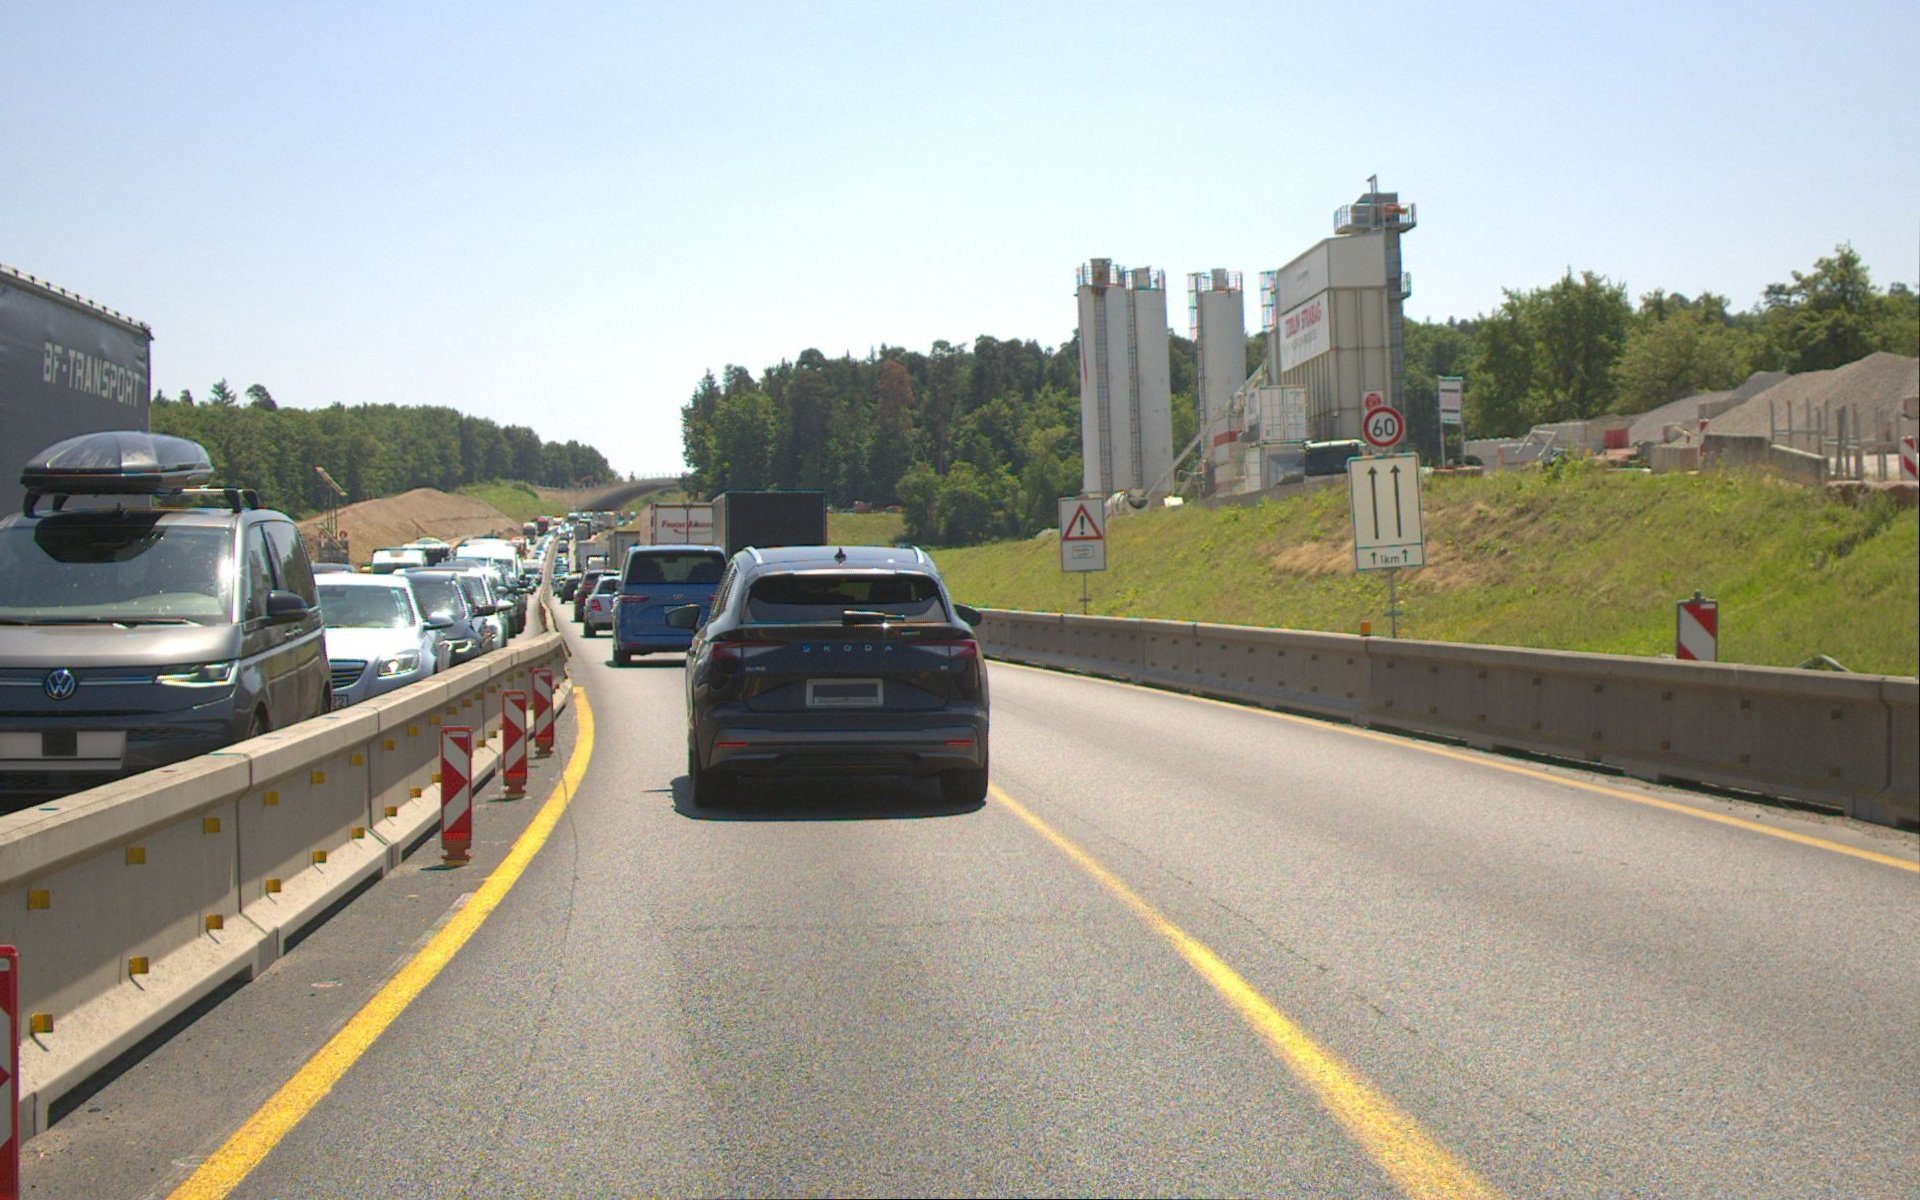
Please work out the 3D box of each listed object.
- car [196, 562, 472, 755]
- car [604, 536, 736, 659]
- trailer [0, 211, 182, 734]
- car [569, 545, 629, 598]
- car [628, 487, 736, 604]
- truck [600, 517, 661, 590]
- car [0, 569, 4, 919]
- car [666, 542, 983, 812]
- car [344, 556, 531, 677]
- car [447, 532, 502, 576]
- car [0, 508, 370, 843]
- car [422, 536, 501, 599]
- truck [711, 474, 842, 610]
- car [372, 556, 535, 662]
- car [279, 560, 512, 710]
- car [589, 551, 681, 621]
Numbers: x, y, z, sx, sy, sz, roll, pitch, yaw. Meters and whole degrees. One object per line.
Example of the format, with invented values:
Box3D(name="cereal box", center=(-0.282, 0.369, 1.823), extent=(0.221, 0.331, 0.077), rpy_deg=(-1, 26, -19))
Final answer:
Box3D(name="car", center=(-5.338, 0.451, 29.786), extent=(1.993, 1.525, 4.060), rpy_deg=(-1, 1, -5))
Box3D(name="car", center=(-4.613, -0.080, 54.828), extent=(1.993, 1.837, 4.001), rpy_deg=(-1, 1, -5))
Box3D(name="trailer", center=(-9.093, -1.057, 30.602), extent=(2.736, 4.123, 8.187), rpy_deg=(-1, 1, -3))
Box3D(name="car", center=(-11.337, -0.910, 107.995), extent=(1.820, 1.638, 3.866), rpy_deg=(-1, 1, -6))
Box3D(name="car", center=(-10.414, -2.058, 127.940), extent=(3.435, 4.087, 9.199), rpy_deg=(2, 1, -7))
Box3D(name="truck", center=(-19.387, -2.772, 202.148), extent=(3.475, 4.206, 10.379), rpy_deg=(0, 1, -6))
Box3D(name="car", center=(-4.825, 0.635, 11.837), extent=(1.735, 1.441, 4.797), rpy_deg=(0, 1, 0))
Box3D(name="car", center=(-0.786, 0.424, 22.253), extent=(1.842, 1.576, 4.000), rpy_deg=(0, 1, 1))
Box3D(name="car", center=(-7.181, 0.183, 47.725), extent=(2.045, 1.521, 5.067), rpy_deg=(-1, 1, -3))
Box3D(name="car", center=(-15.199, -1.455, 107.817), extent=(1.617, 1.319, 3.696), rpy_deg=(-1, 1, -7))
Box3D(name="car", center=(-4.967, 0.368, 20.797), extent=(2.045, 1.771, 5.066), rpy_deg=(0, 1, -2))
Box3D(name="car", center=(-11.025, -0.735, 76.150), extent=(1.617, 1.319, 3.696), rpy_deg=(-1, 1, -7))
Box3D(name="truck", center=(-4.306, -1.350, 79.740), extent=(2.672, 2.935, 5.621), rpy_deg=(-3, 1, -5))
Box3D(name="car", center=(-7.920, 0.107, 54.173), extent=(2.045, 1.521, 5.067), rpy_deg=(-1, 1, -3))
Box3D(name="car", center=(-6.337, 0.338, 39.135), extent=(2.045, 1.521, 5.067), rpy_deg=(-1, 1, -3))
Box3D(name="car", center=(-7.663, -0.356, 81.443), extent=(2.045, 1.521, 5.067), rpy_deg=(-2, 1, -4))
